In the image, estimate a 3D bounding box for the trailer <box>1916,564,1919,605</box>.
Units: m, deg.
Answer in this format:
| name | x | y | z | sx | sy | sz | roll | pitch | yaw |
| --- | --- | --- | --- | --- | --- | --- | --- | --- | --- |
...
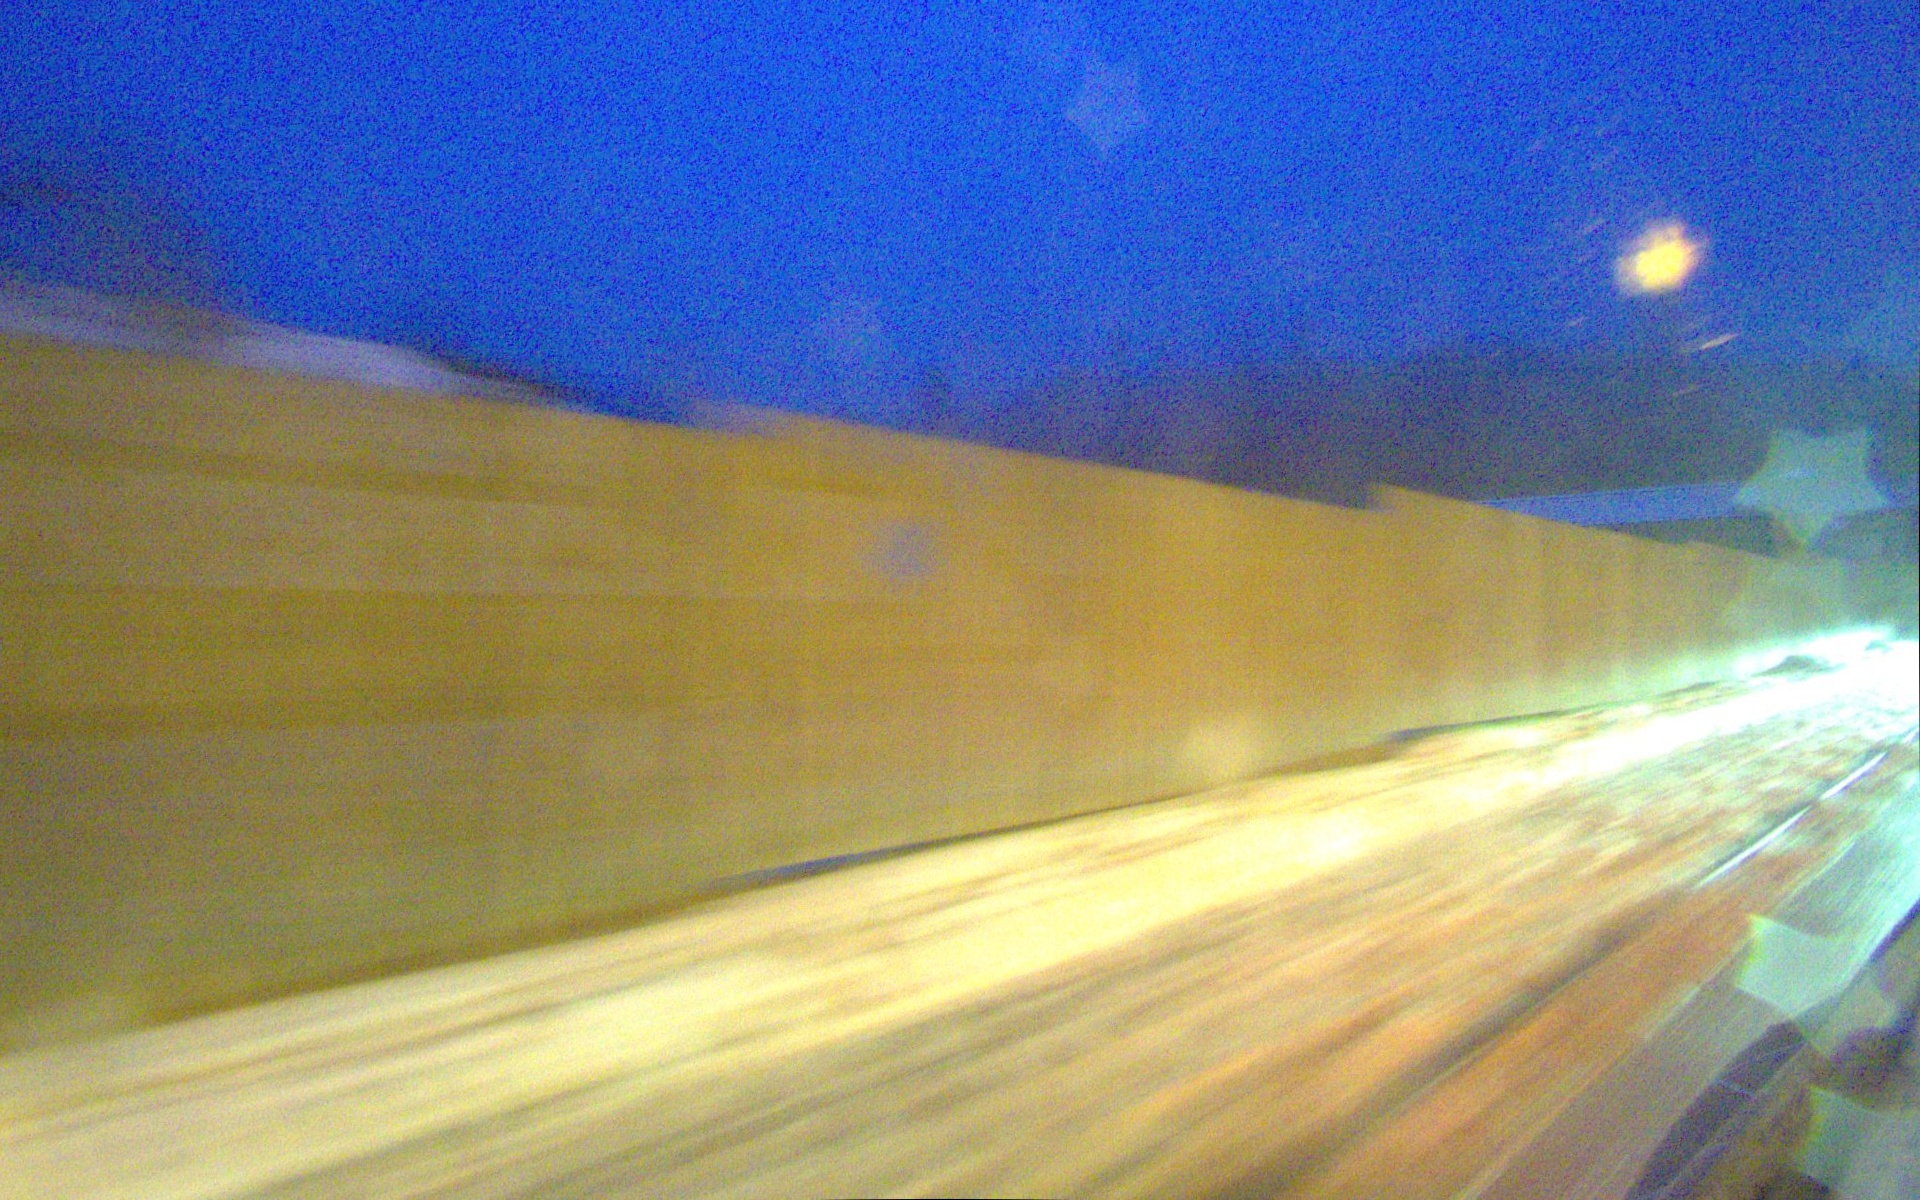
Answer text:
| name | x | y | z | sx | sy | sz | roll | pitch | yaw |
| --- | --- | --- | --- | --- | --- | --- | --- | --- | --- |
| trailer | 52.782 | -0.812 | 54.318 | 4.574 | 2.395 | 1.631 | -2 | -2 | -42 |
